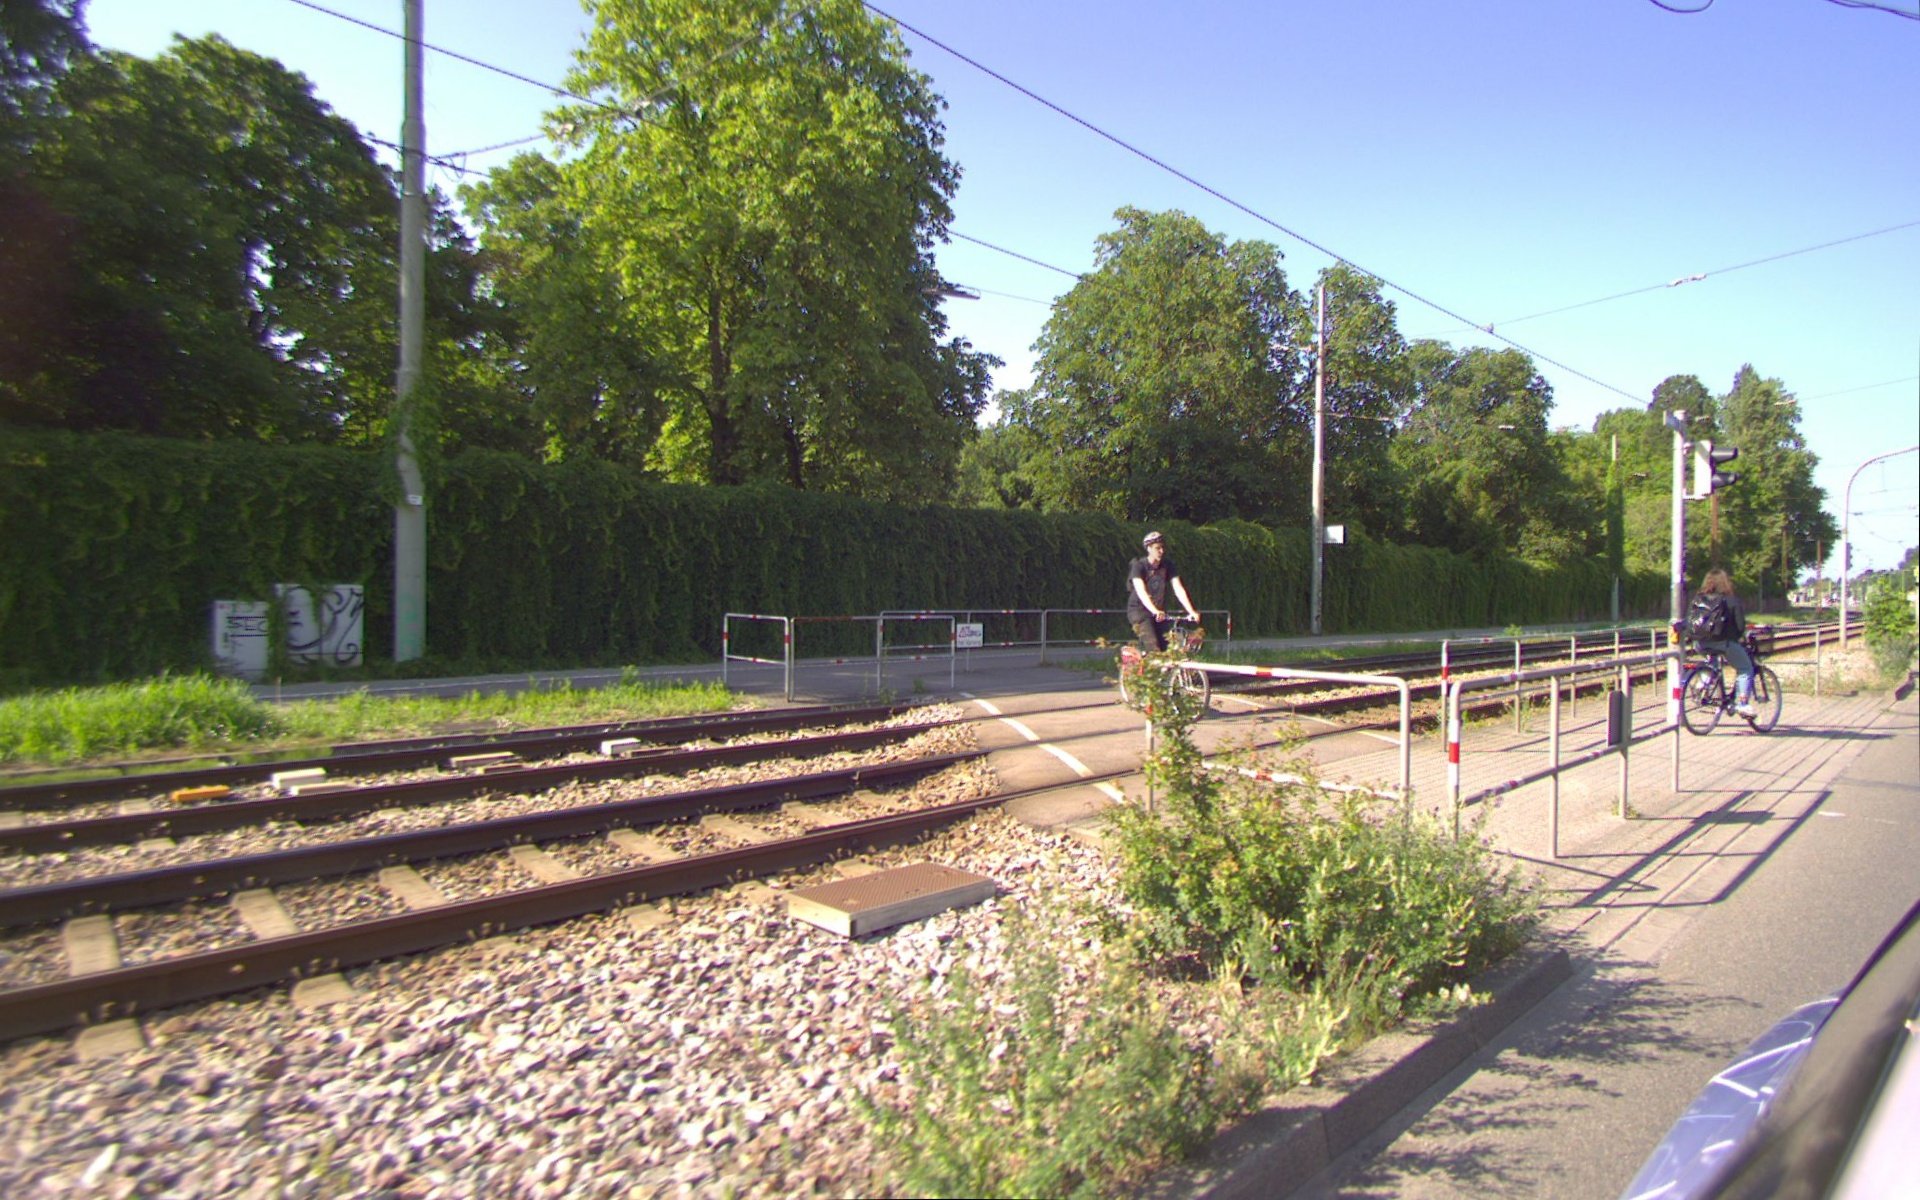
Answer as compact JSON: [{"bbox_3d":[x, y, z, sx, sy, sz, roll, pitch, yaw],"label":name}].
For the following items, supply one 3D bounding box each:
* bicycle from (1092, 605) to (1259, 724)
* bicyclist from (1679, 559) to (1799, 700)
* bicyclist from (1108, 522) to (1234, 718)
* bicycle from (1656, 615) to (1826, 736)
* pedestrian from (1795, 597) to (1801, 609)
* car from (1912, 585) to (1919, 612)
[{"bbox_3d":[2.288,0.642,11.046,0.927,1.129,1.931,0,1,-18],"label":"bicycle"},{"bbox_3d":[8.327,0.296,10.823,0.992,1.434,0.646,0,0,-27],"label":"bicyclist"},{"bbox_3d":[2.285,0.197,11.058,0.927,2.018,1.039,0,0,-19],"label":"bicyclist"},{"bbox_3d":[8.429,0.777,10.912,1.897,1.168,0.647,0,3,-27],"label":"bicycle"},{"bbox_3d":[128.063,0.492,154.627,0.870,1.738,0.501,1,1,-43],"label":"pedestrian"},{"bbox_3d":[57.316,-0.102,59.530,1.703,1.541,3.777,0,0,40],"label":"car"}]
